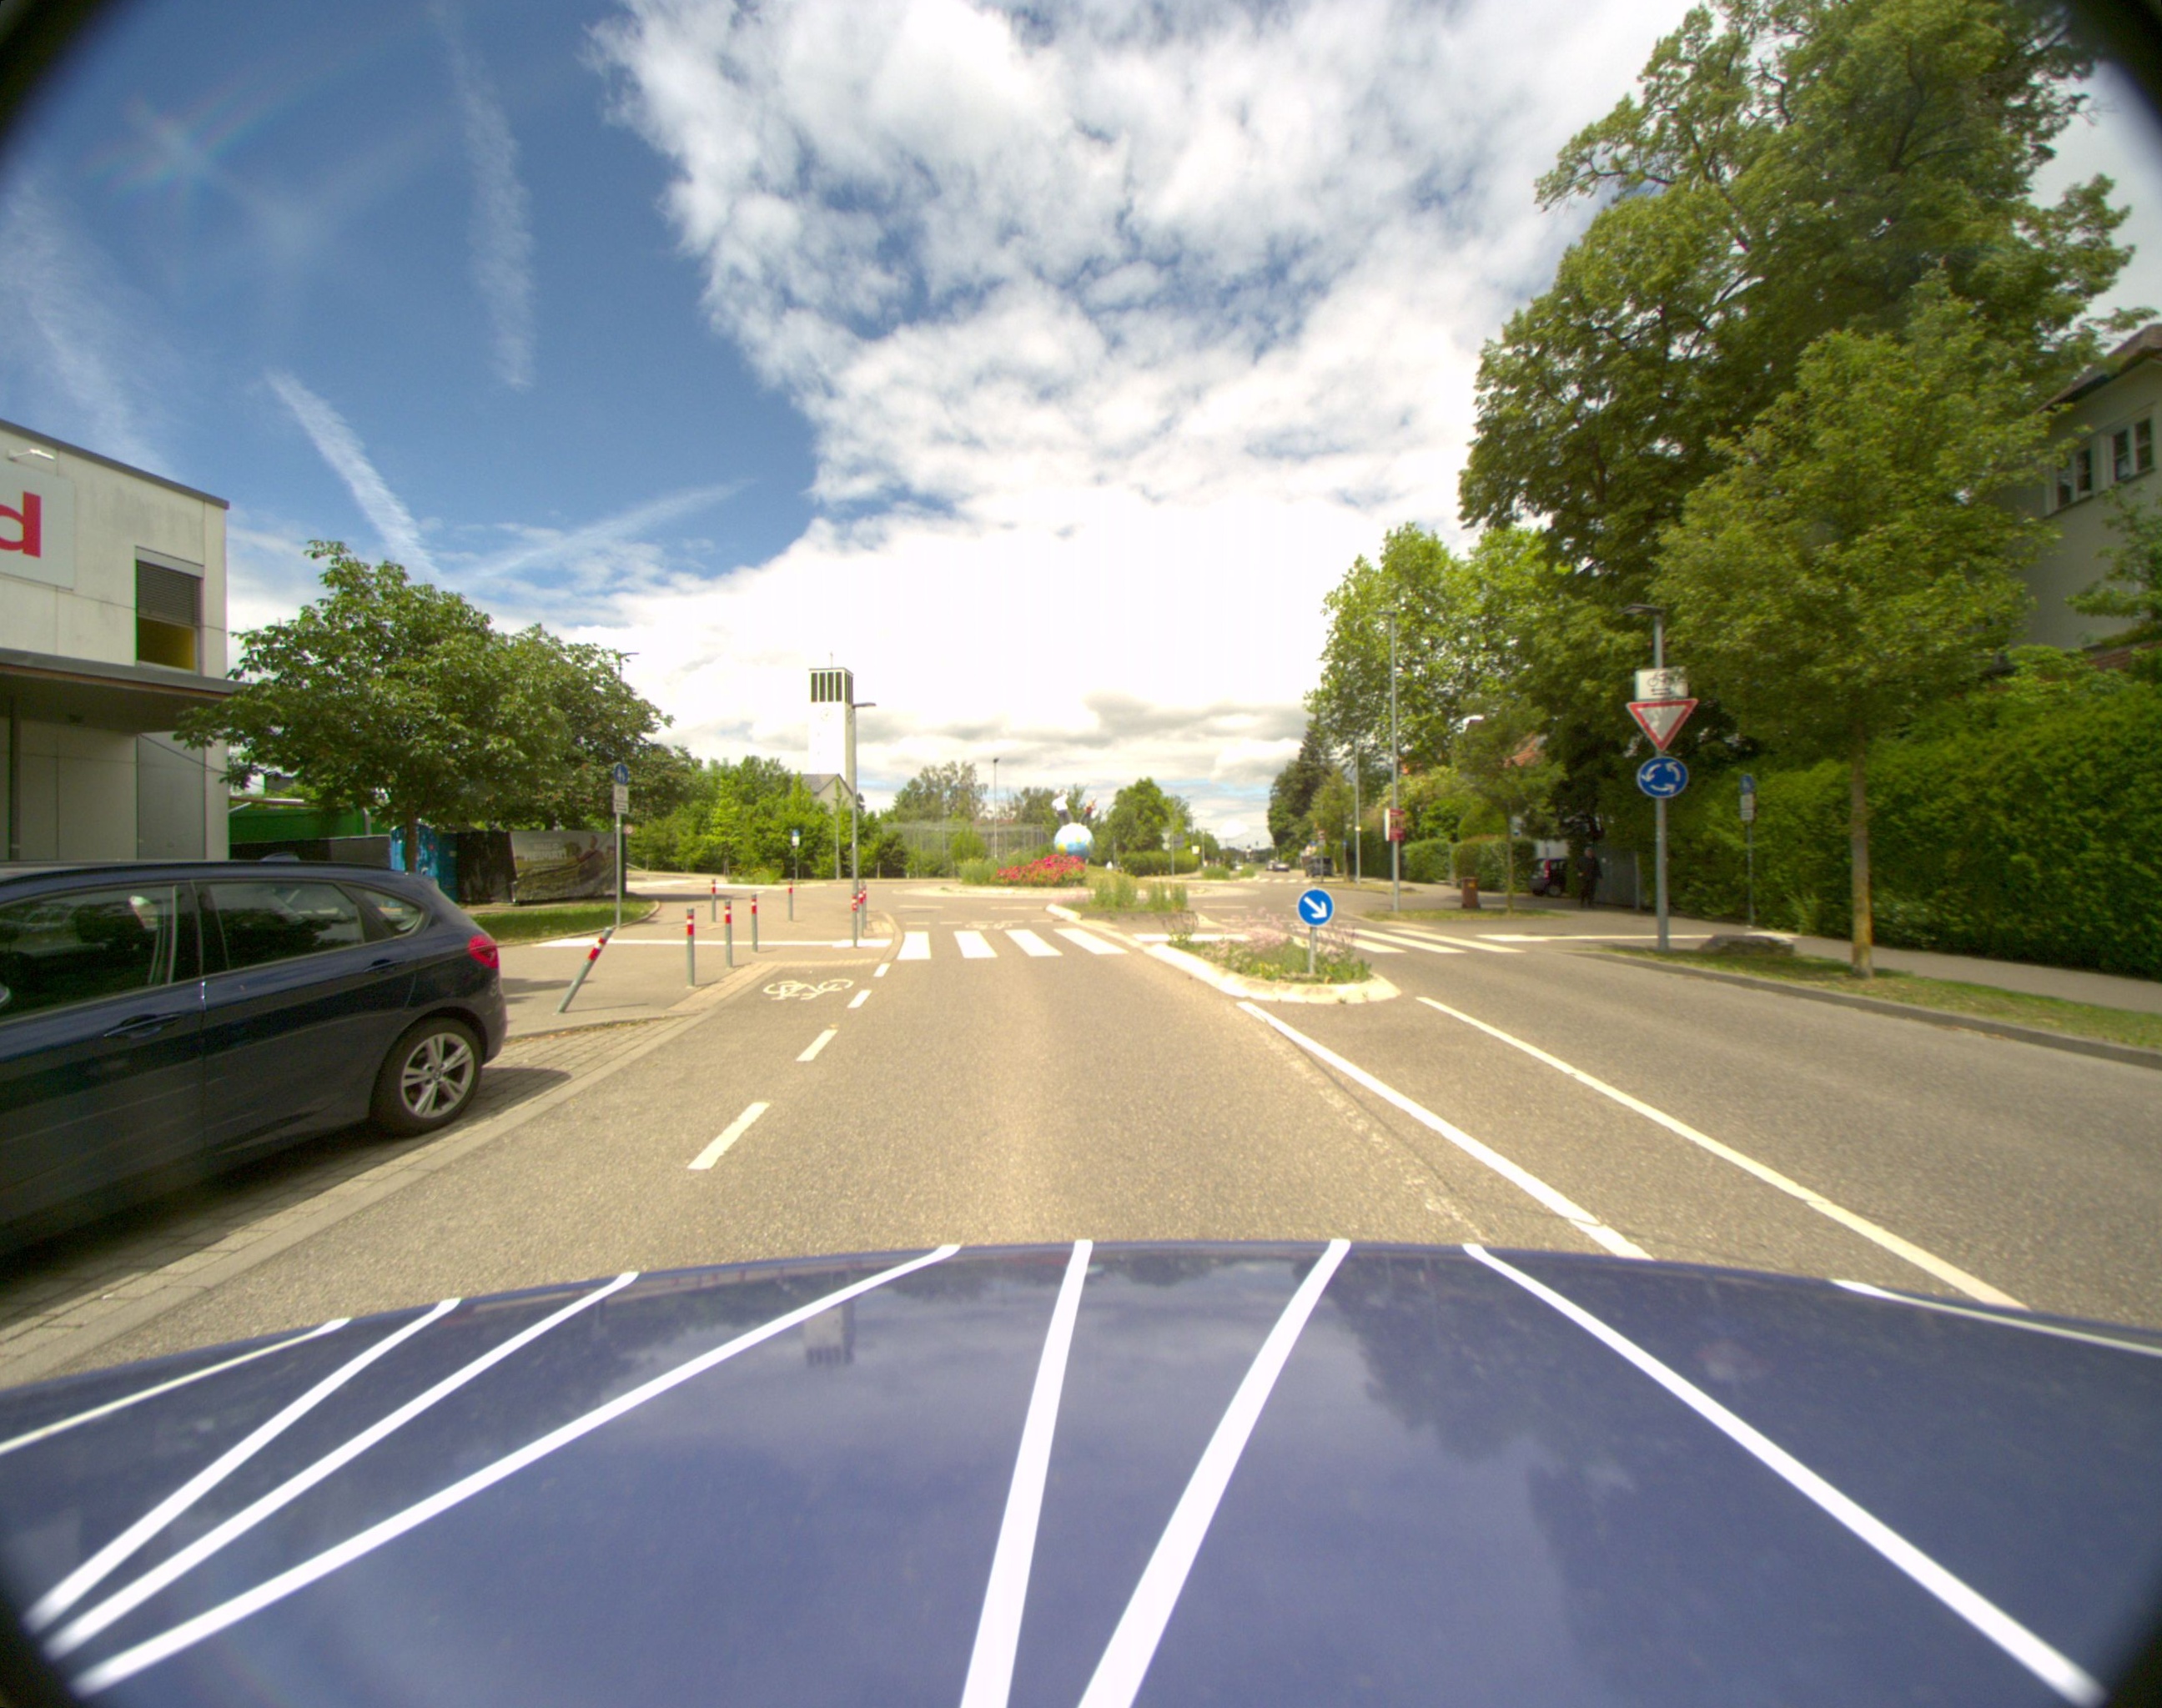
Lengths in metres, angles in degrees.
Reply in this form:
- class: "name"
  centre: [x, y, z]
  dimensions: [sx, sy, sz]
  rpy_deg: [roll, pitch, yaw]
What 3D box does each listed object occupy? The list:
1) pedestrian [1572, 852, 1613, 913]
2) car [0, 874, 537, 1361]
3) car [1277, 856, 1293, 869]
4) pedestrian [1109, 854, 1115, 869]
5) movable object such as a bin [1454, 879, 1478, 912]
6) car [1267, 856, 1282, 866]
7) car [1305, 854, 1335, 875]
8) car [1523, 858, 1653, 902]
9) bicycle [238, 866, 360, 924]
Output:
- class: "pedestrian"
  centre: [14.427, 0.797, 21.438]
  dimensions: [0.745, 1.681, 0.695]
  rpy_deg: [-1, 1, 13]
- class: "car"
  centre: [-4.662, 0.946, 2.901]
  dimensions: [1.921, 1.569, 4.430]
  rpy_deg: [1, 1, 1]
- class: "car"
  centre: [27.062, 1.091, 101.084]
  dimensions: [1.860, 1.568, 4.003]
  rpy_deg: [-1, 0, 12]
- class: "pedestrian"
  centre: [3.381, 0.822, 83.076]
  dimensions: [0.608, 1.687, 0.566]
  rpy_deg: [0, 1, -7]
- class: "movable object such as a bin"
  centre: [11.062, 1.191, 21.848]
  dimensions: [0.441, 0.929, 0.411]
  rpy_deg: [0, 1, -17]
- class: "car"
  centre: [33.460, 1.210, 131.569]
  dimensions: [1.997, 1.696, 4.002]
  rpy_deg: [1, 0, 7]
- class: "car"
  centre: [19.676, 0.850, 62.654]
  dimensions: [1.679, 1.652, 4.002]
  rpy_deg: [0, 0, 8]
- class: "car"
  centre: [18.601, 0.931, 28.013]
  dimensions: [3.572, 1.389, 1.667]
  rpy_deg: [2, 1, 12]
- class: "bicycle"
  centre: [-17.849, 0.910, 17.387]
  dimensions: [1.774, 1.227, 0.714]
  rpy_deg: [-1, 1, -22]
